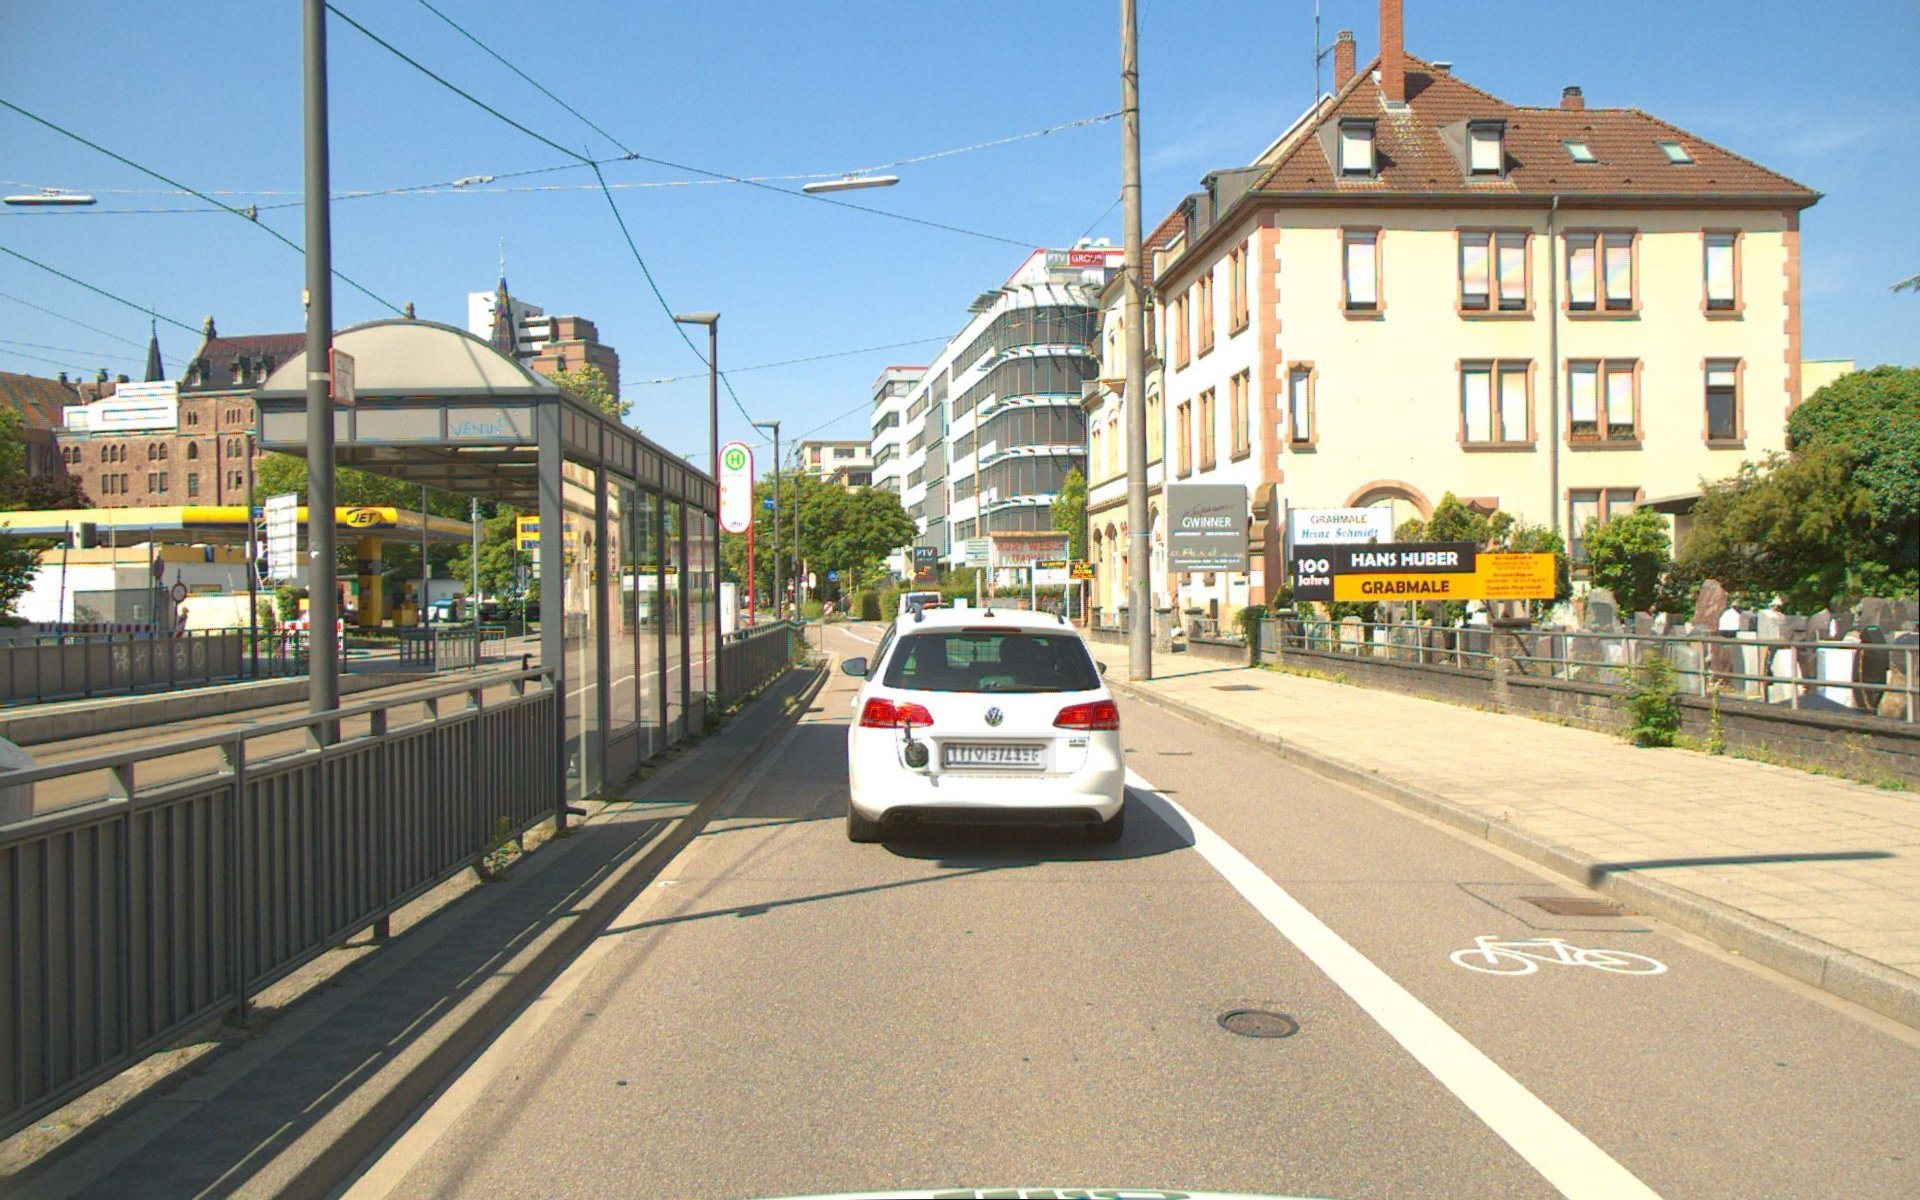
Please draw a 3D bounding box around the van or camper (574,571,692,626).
[{"bbox_3d":[-19.512,-0.105,98.616,6.558,3.019,2.615,2,-1,24],"label":"van or camper"}]

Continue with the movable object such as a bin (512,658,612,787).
[{"bbox_3d":[-2.978,0.908,12.403,0.616,0.916,0.489,-2,0,-2],"label":"movable object such as a bin"}]

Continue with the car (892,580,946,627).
[{"bbox_3d":[-2.040,0.166,79.824,1.940,2.090,5.181,-3,0,-8],"label":"car"}]

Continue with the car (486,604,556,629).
[{"bbox_3d":[-30.245,1.154,114.052,1.910,1.653,4.562,-1,0,35],"label":"car"}]

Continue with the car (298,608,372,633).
[{"bbox_3d":[-40.103,1.343,106.145,4.070,1.554,1.938,-1,-1,17],"label":"car"}]

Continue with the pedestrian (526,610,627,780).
[{"bbox_3d":[-3.003,0.725,12.999,0.616,1.277,0.709,-1,0,-2],"label":"pedestrian"}]

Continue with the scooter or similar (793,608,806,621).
[{"bbox_3d":[-14.032,1.260,144.913,1.120,1.174,0.493,-1,0,-3],"label":"scooter or similar"}]

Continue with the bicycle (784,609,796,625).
[{"bbox_3d":[-12.138,1.225,118.050,0.796,1.097,2.008,-1,0,-8],"label":"bicycle"}]

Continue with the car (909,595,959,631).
[{"bbox_3d":[-1.183,0.590,73.467,1.690,1.468,4.304,-3,0,-8],"label":"car"}]

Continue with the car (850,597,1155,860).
[{"bbox_3d":[0.137,0.724,11.554,1.719,1.467,4.410,1,0,-3],"label":"car"}]
